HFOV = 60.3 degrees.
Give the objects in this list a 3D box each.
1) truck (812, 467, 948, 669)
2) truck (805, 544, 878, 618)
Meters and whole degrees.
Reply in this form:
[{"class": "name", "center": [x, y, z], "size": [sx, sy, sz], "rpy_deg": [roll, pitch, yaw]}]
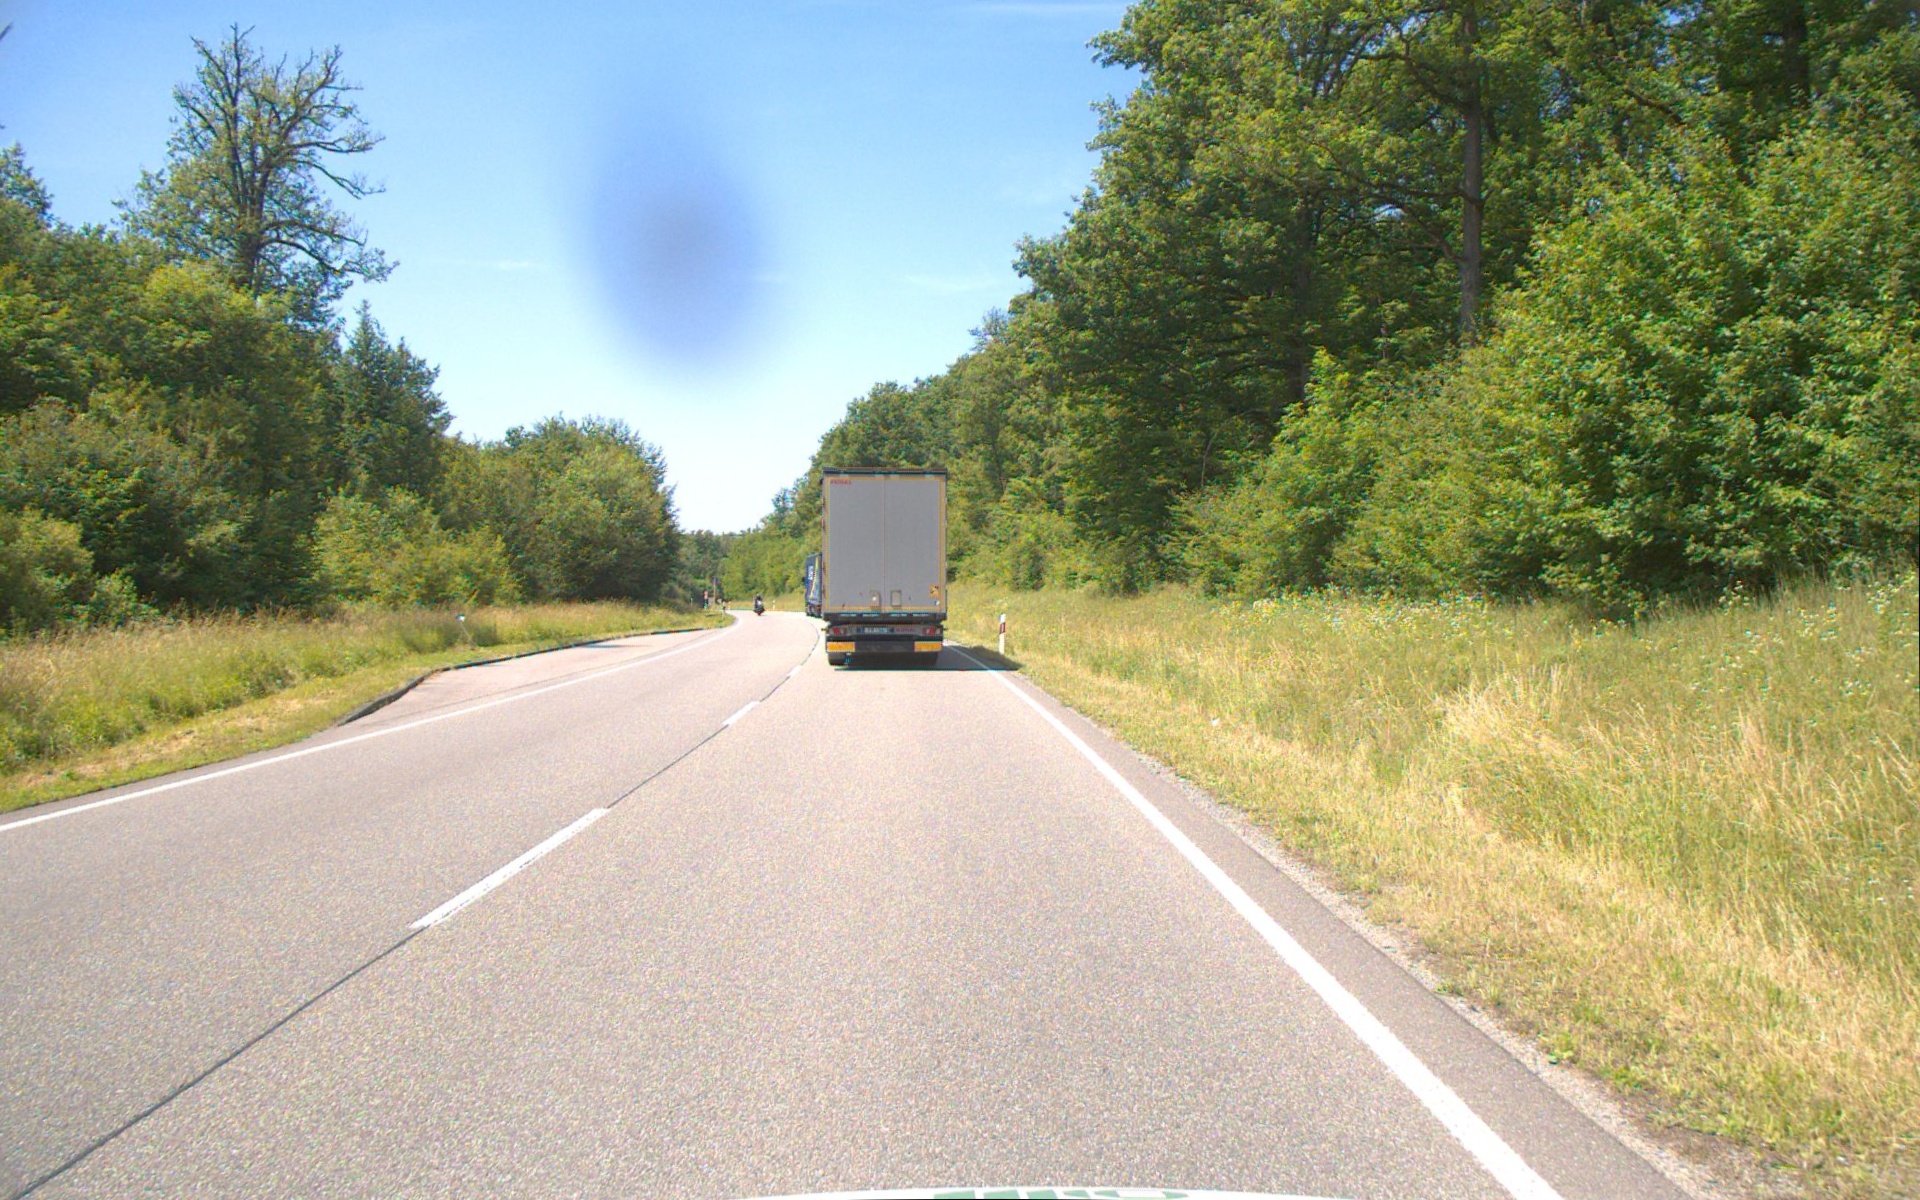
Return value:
[{"class": "truck", "center": [-1.820, -0.644, 38.972], "size": [2.706, 4.016, 12.192], "rpy_deg": [0, 0, -2]}, {"class": "truck", "center": [-7.892, -1.162, 107.913], "size": [3.722, 4.449, 14.893], "rpy_deg": [1, 0, -8]}]
